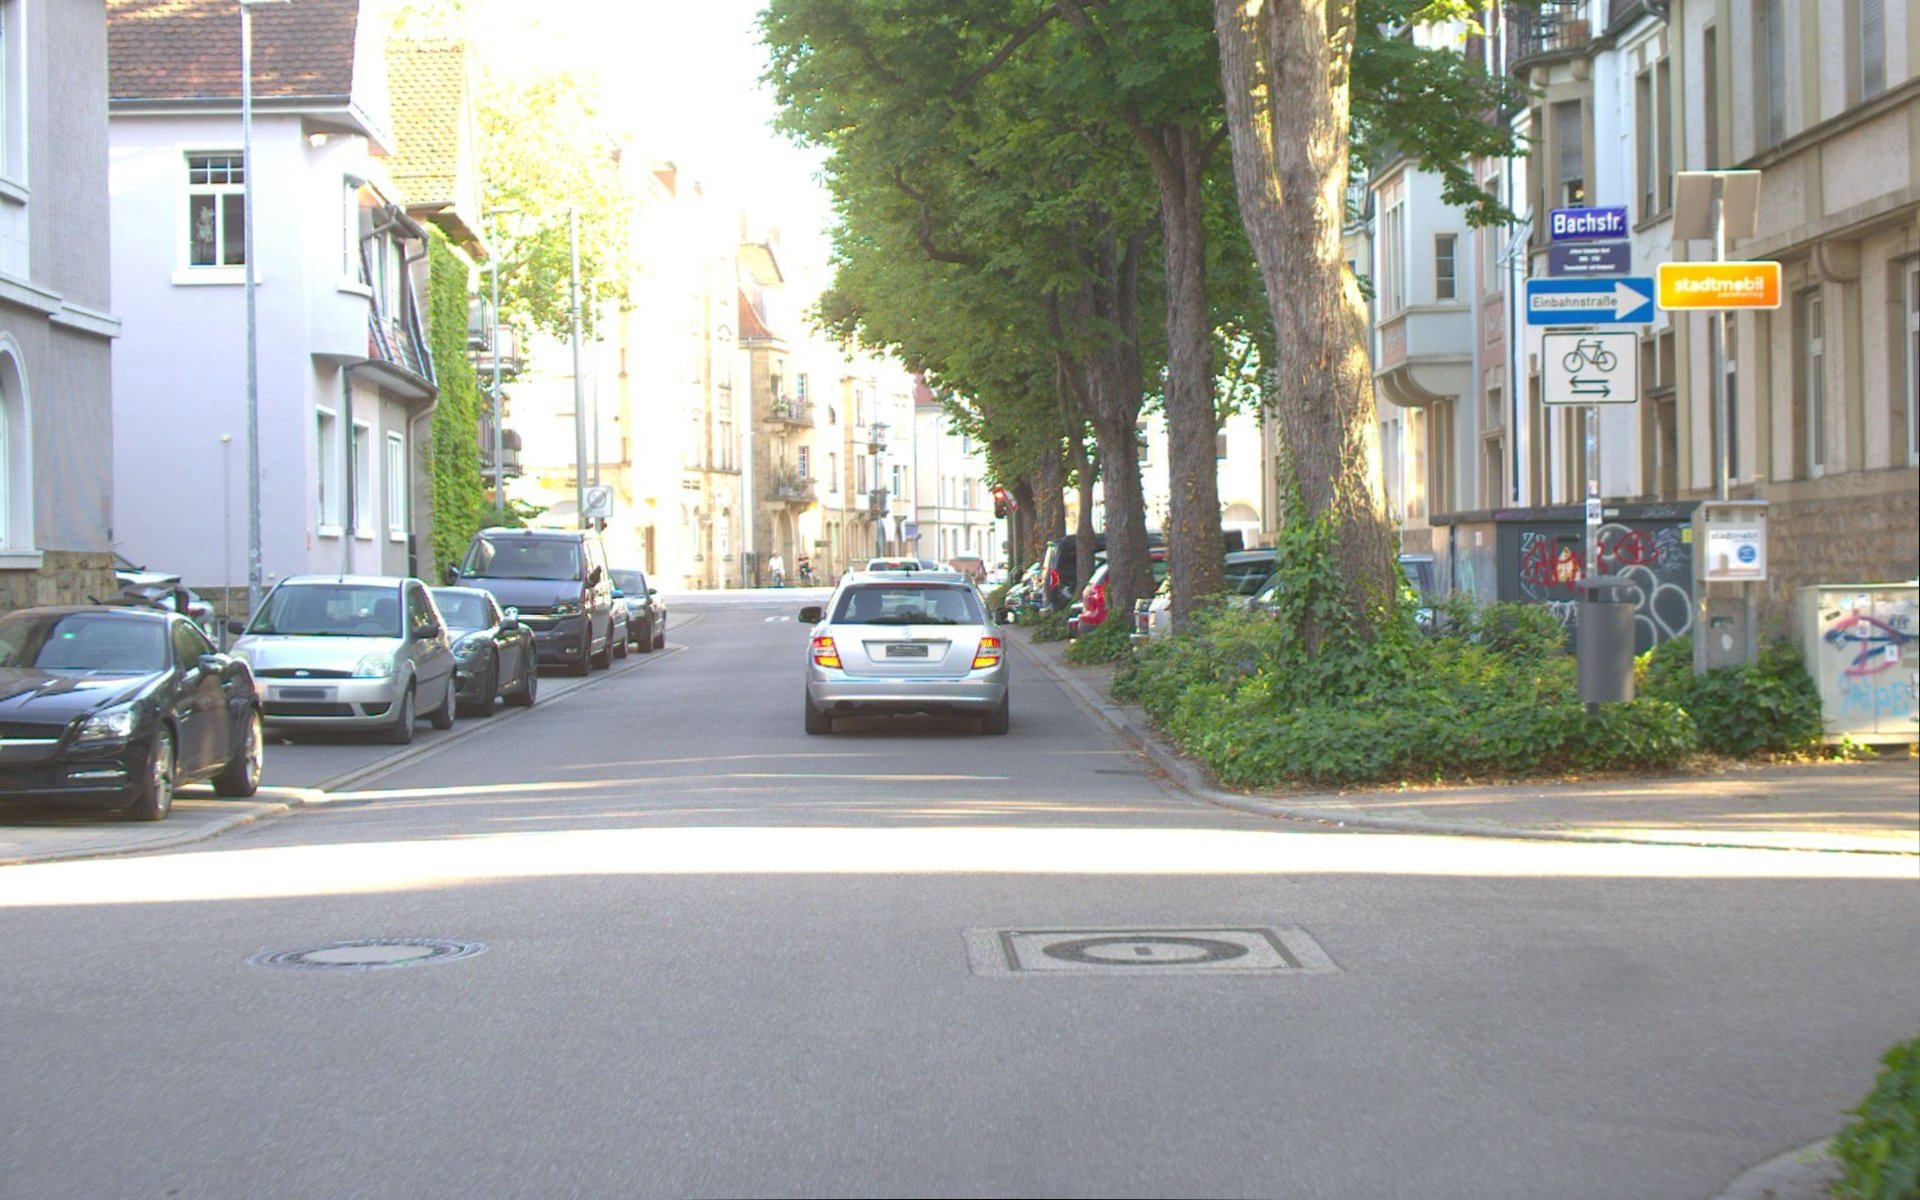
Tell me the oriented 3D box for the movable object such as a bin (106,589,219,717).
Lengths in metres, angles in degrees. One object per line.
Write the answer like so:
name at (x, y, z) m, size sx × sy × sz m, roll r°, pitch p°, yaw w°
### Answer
movable object such as a bin at (-8.437, 0.542, 36.438) m, size 0.721 × 1.279 × 2.096 m, roll 0°, pitch 1°, yaw -1°

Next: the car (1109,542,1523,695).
car at (3.782, 0.181, 36.900) m, size 4.146 × 1.571 × 1.713 m, roll 0°, pitch 1°, yaw -6°

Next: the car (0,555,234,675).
car at (-11.104, 0.177, 42.765) m, size 3.862 × 1.438 × 1.635 m, roll 0°, pitch 1°, yaw -4°

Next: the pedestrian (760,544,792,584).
pedestrian at (-7.971, -1.554, 148.654) m, size 1.221 × 1.716 × 1.503 m, roll 1°, pitch 1°, yaw 3°

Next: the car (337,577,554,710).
car at (-5.384, 0.420, 36.432) m, size 1.531 × 1.314 × 4.226 m, roll 0°, pitch 0°, yaw 2°

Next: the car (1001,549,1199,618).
car at (3.135, -0.391, 77.761) m, size 4.287 × 1.412 × 1.877 m, roll -2°, pitch 1°, yaw -3°

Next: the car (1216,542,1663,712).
car at (4.423, 0.227, 32.037) m, size 3.792 × 1.433 × 1.749 m, roll -2°, pitch 1°, yaw -5°

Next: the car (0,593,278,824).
car at (-5.735, 0.641, 22.439) m, size 1.653 × 1.319 × 4.045 m, roll 1°, pitch 0°, yaw 1°

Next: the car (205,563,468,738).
car at (-5.581, 0.406, 31.193) m, size 1.653 × 1.440 × 3.960 m, roll 1°, pitch 1°, yaw 0°

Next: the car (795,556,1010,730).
car at (-0.485, 0.353, 30.614) m, size 1.784 × 1.432 × 3.851 m, roll 1°, pitch 0°, yaw 0°

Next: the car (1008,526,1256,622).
car at (3.610, -0.559, 72.832) m, size 5.053 × 1.982 × 2.072 m, roll 0°, pitch 1°, yaw -3°

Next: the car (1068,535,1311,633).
car at (4.037, -0.292, 60.879) m, size 4.110 × 1.566 × 1.877 m, roll -2°, pitch 0°, yaw 0°

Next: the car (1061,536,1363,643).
car at (3.769, -0.162, 51.971) m, size 4.411 × 1.414 × 1.877 m, roll -2°, pitch 0°, yaw 2°

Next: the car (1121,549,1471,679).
car at (3.801, 0.147, 39.333) m, size 3.793 × 1.433 × 1.818 m, roll 0°, pitch 1°, yaw -1°

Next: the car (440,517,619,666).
car at (-5.914, -0.154, 47.767) m, size 1.982 × 1.941 × 4.852 m, roll 1°, pitch 1°, yaw -1°

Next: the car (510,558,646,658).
car at (-5.909, 0.093, 53.500) m, size 1.653 × 1.442 × 4.237 m, roll 1°, pitch 1°, yaw -1°

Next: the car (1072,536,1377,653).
car at (3.725, -0.085, 48.983) m, size 4.190 × 1.470 × 1.851 m, roll -2°, pitch 0°, yaw 2°

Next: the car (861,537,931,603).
car at (-1.547, -0.749, 84.222) m, size 1.623 × 1.564 × 3.680 m, roll 0°, pitch 1°, yaw 0°

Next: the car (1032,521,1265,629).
car at (3.568, -0.479, 65.575) m, size 4.219 × 1.890 × 1.906 m, roll -2°, pitch 1°, yaw -2°

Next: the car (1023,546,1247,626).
car at (3.466, -0.287, 68.495) m, size 4.287 × 1.535 × 1.877 m, roll 0°, pitch 1°, yaw -3°

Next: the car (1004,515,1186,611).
car at (3.342, -0.938, 85.675) m, size 4.388 × 2.356 × 2.000 m, roll 0°, pitch 1°, yaw -3°

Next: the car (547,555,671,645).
car at (-5.972, -0.034, 58.815) m, size 1.695 × 1.442 × 4.358 m, roll 1°, pitch 1°, yaw -1°
